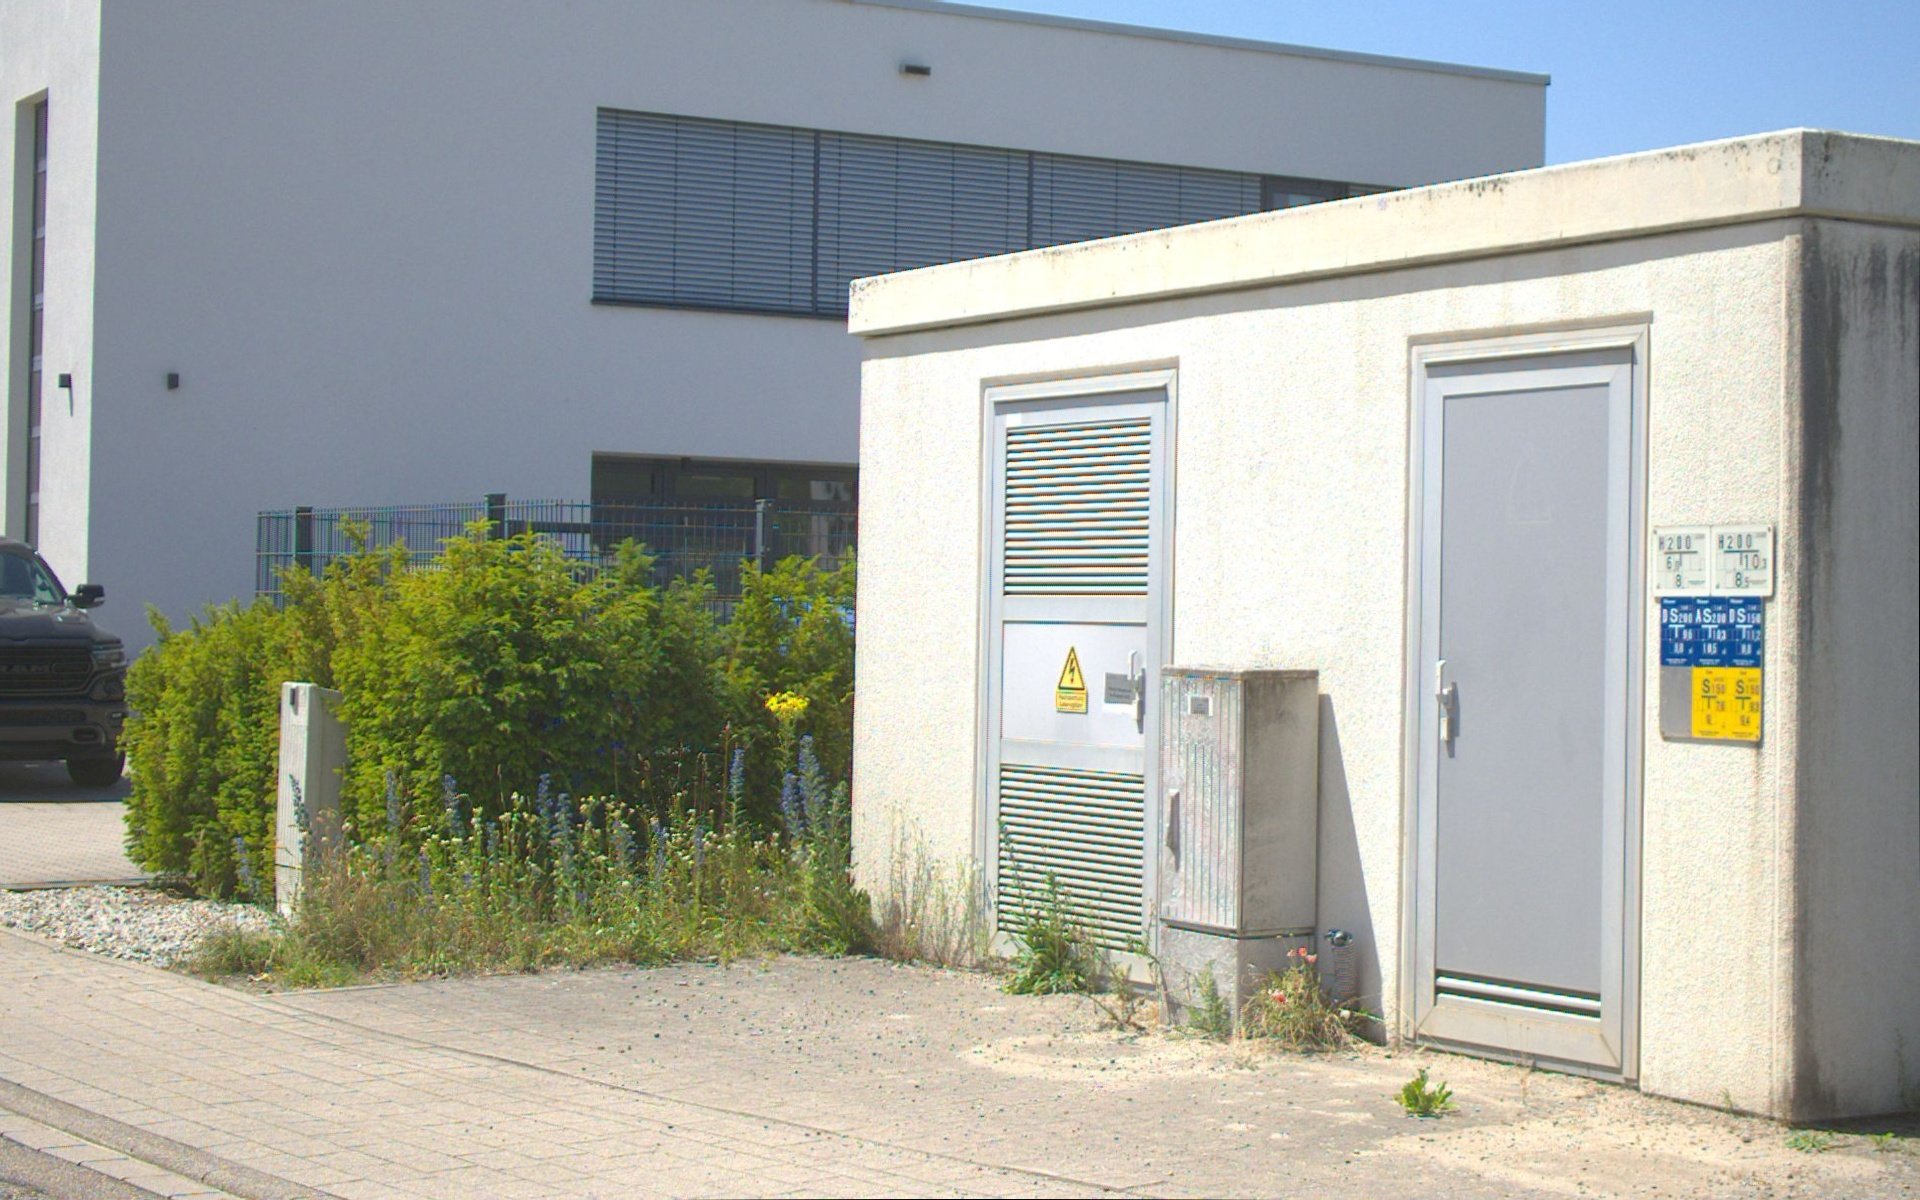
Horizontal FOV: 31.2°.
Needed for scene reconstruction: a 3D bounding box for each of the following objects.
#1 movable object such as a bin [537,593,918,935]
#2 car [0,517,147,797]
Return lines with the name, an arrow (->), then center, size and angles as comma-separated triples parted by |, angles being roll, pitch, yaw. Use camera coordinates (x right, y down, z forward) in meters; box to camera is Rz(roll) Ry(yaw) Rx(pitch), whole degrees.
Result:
movable object such as a bin -> -1.105, 0.742, 16.210 | 1.383, 1.518, 1.170 | 1, 0, -31
car -> -8.533, 0.320, 27.858 | 1.993, 2.006, 5.800 | 1, 2, -32
